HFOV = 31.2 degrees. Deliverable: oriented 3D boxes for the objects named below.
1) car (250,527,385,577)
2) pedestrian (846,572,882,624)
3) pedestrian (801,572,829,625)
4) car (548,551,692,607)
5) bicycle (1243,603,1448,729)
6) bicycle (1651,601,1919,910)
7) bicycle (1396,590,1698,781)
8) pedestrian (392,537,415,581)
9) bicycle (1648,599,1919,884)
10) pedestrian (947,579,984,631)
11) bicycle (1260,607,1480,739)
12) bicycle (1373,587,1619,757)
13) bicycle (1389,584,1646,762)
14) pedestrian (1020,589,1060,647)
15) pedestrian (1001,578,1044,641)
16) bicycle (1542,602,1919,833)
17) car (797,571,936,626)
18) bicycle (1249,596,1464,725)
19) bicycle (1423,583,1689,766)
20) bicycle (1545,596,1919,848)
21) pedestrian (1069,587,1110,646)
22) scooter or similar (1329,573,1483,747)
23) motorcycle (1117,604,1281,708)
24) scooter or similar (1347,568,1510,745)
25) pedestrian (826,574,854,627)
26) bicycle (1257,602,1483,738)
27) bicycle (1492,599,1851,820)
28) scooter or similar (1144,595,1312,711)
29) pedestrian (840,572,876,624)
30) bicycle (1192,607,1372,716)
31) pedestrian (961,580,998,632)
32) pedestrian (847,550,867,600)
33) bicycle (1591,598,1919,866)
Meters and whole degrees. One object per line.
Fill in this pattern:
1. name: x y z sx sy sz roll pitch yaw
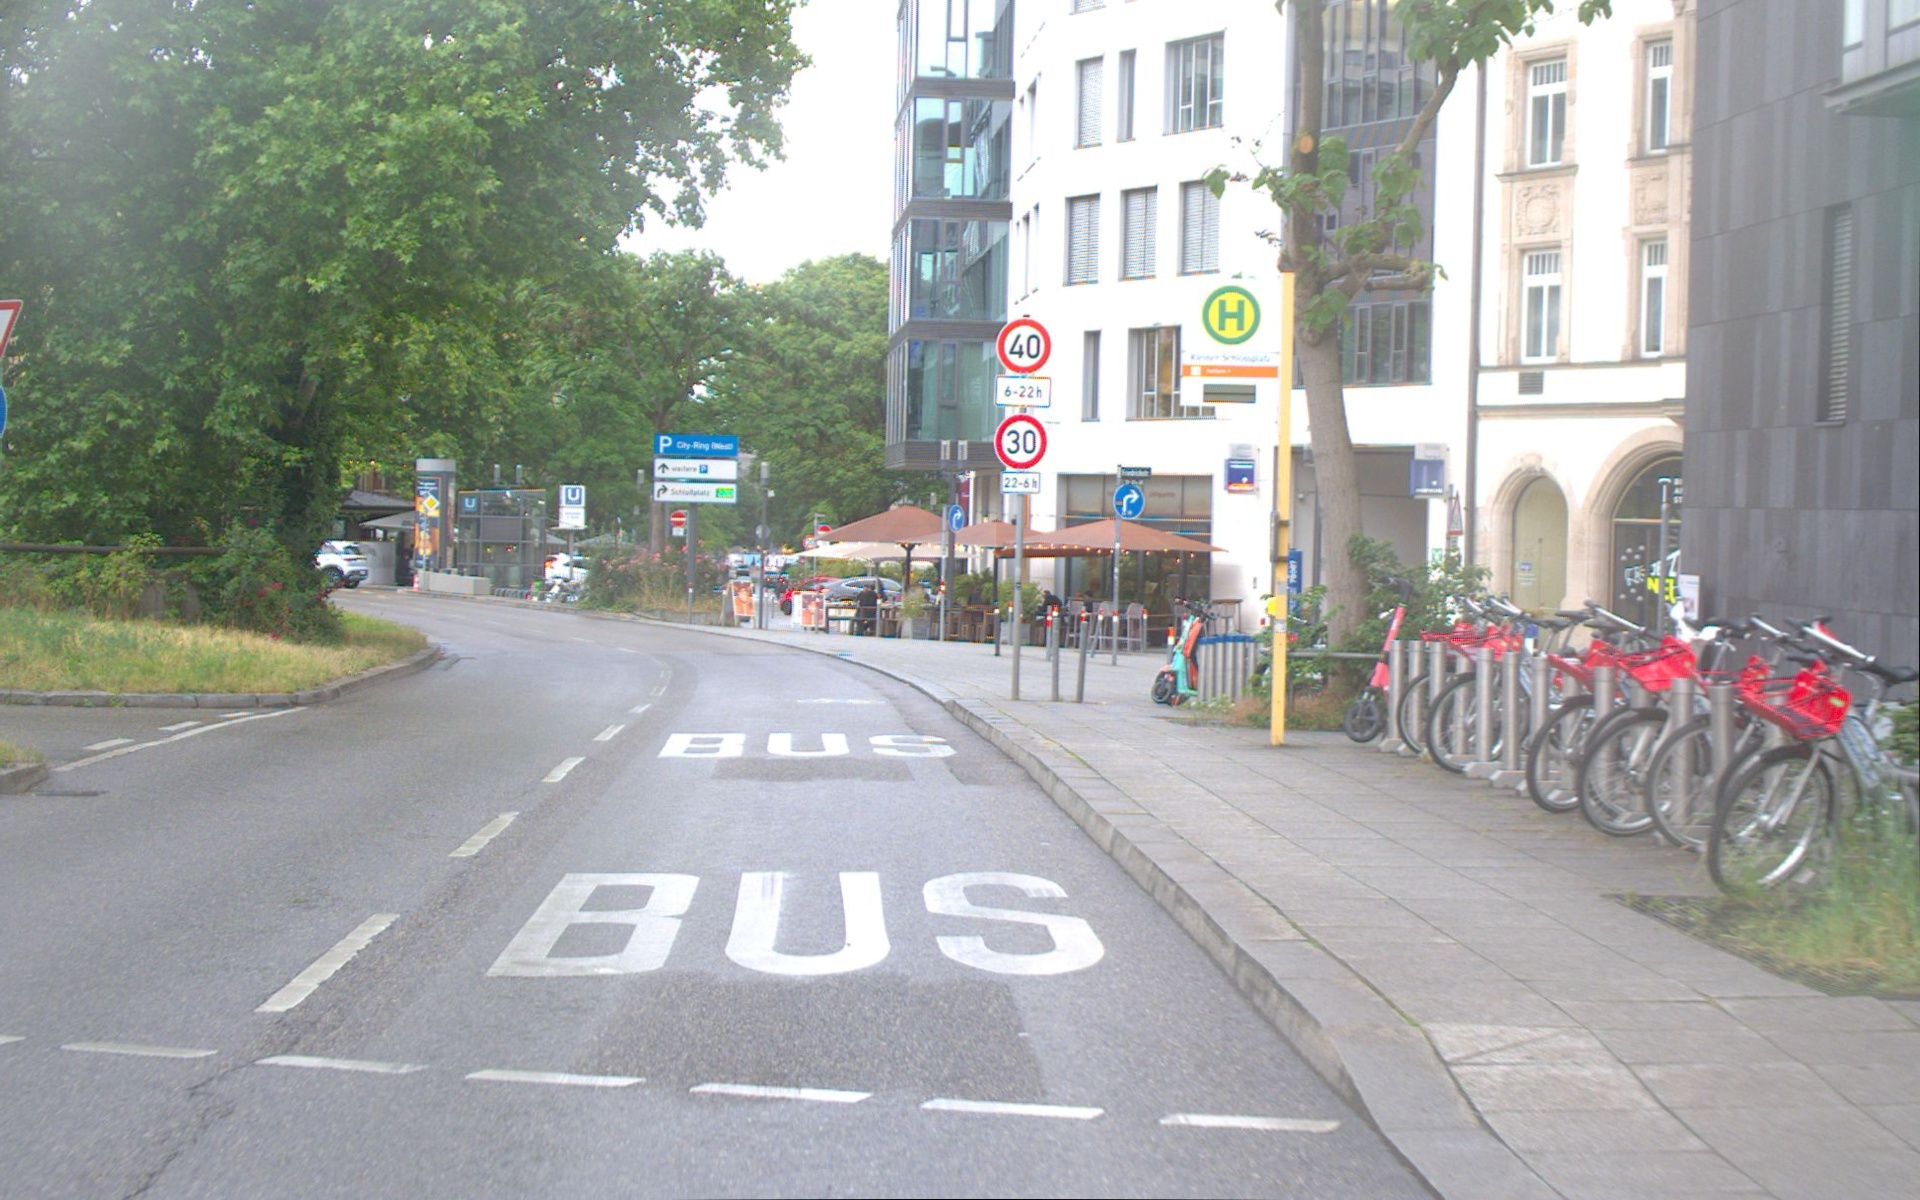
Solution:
1. car: -23.142 -1.722 123.879 4.335 1.661 1.951 2 0 19
2. pedestrian: -2.535 -0.053 90.843 0.817 1.322 0.636 4 0 -7
3. pedestrian: -3.765 -0.033 89.117 0.606 1.322 0.568 4 0 -7
4. car: -11.582 -0.721 117.234 4.734 1.685 2.005 3 1 -3
5. bicycle: 3.684 0.630 32.901 1.794 1.104 0.670 3 -1 -8
6. bicycle: 3.715 0.609 13.710 1.729 1.179 0.689 1 1 -9
7. bicycle: 3.649 0.532 21.426 1.705 1.136 0.689 1 -1 -9
8. pedestrian: -21.864 -1.607 135.084 0.722 1.696 0.618 1 0 5
9. bicycle: 3.930 0.599 14.846 1.729 1.179 0.689 1 1 -9
10. pedestrian: 0.150 0.139 91.686 0.817 1.322 0.636 4 0 -7
11. bicycle: 3.610 0.640 30.293 1.794 1.064 0.556 3 -1 -7
12. bicycle: 3.717 0.498 23.879 1.534 1.136 0.662 1 -1 -9
13. bicycle: 3.722 0.486 23.007 1.534 1.136 0.689 1 -1 -9
14. pedestrian: 1.910 0.423 82.205 0.626 1.322 0.636 4 0 -27
15. pedestrian: 1.379 0.205 75.822 0.773 1.322 0.636 4 0 -7
16. bicycle: 3.922 0.594 17.541 1.729 1.136 0.689 1 1 -9
17. car: -3.279 -0.052 120.048 4.734 1.685 2.005 3 1 -3
18. bicycle: 3.562 0.543 30.923 1.794 1.064 0.556 3 -1 -7
19. bicycle: 3.846 0.479 22.234 1.534 1.136 0.689 1 -1 -9
20. bicycle: 3.789 0.583 16.675 1.729 1.179 0.689 1 1 -9
21. pedestrian: 3.026 0.379 80.256 0.626 1.322 0.636 4 0 -27
22. scooter or similar: 3.291 0.445 25.384 1.060 1.253 0.302 1 -1 -9
23. motorcycle: 2.815 0.662 40.553 1.791 1.136 0.596 3 -1 -8
24. scooter or similar: 3.409 0.410 25.027 1.105 1.253 0.302 1 -1 -9
25. pedestrian: -3.118 0.009 89.186 0.606 1.322 0.568 4 0 -7
26. bicycle: 3.502 0.597 29.426 1.794 1.064 0.556 3 -1 -7
27. bicycle: 3.779 0.578 18.318 1.729 1.136 0.689 1 1 -9
28. scooter or similar: 3.080 0.607 39.583 1.791 1.239 0.596 3 -1 -8
29. pedestrian: -2.724 -0.058 91.730 0.817 1.322 0.636 4 0 -7
30. bicycle: 3.515 0.669 37.582 1.794 1.104 0.670 3 -1 -8
31. pedestrian: 0.504 0.155 90.810 0.817 1.322 0.636 4 0 -7
32. pedestrian: -4.039 -0.979 134.413 0.624 1.926 0.787 2 0 4
33. bicycle: 3.835 0.594 15.698 1.729 1.179 0.689 1 1 -9
